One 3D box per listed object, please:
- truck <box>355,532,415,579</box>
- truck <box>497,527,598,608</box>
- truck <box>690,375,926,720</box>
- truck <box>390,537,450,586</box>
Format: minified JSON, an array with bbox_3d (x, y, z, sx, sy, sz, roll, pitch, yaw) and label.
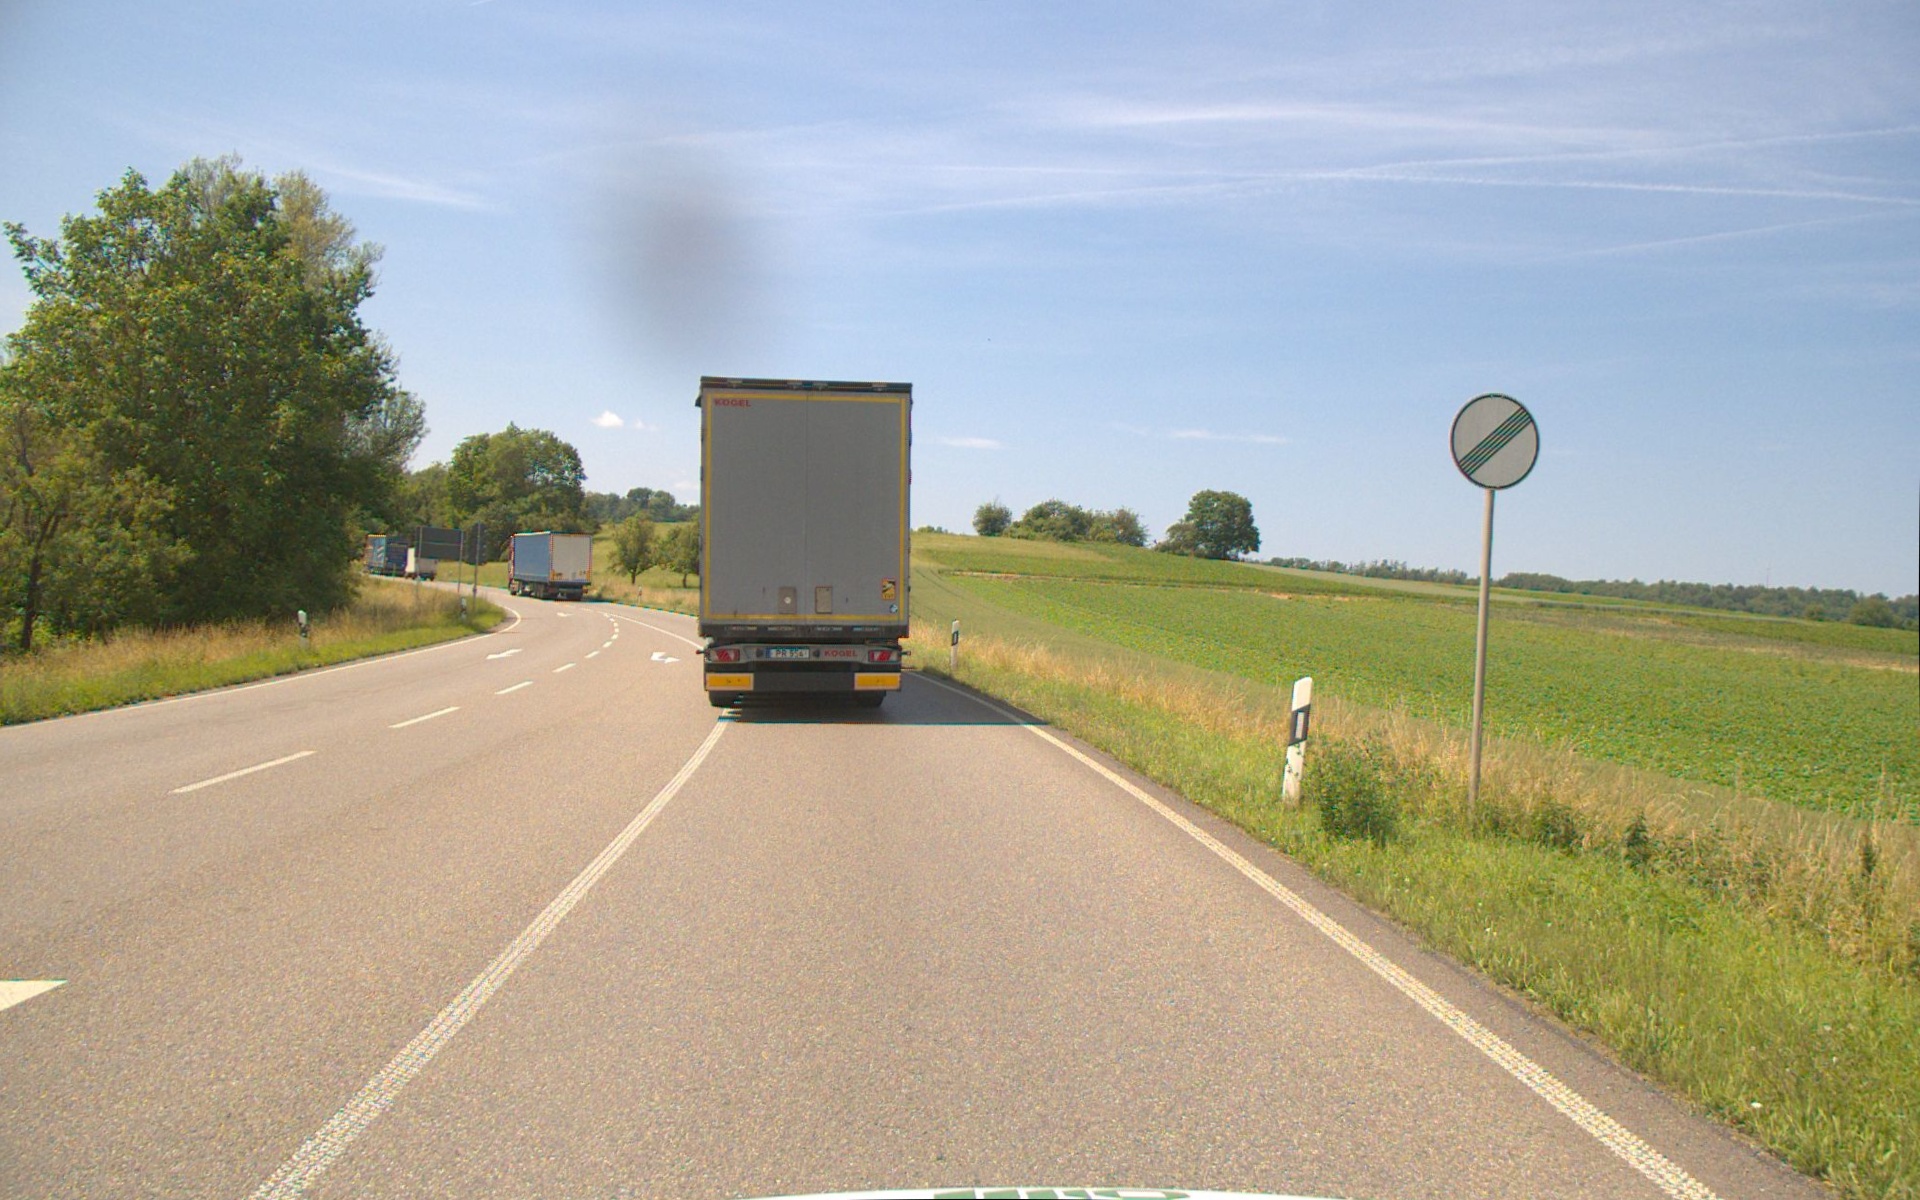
[{"bbox_3d":[-60.789,-4.601,174.584,3.491,4.315,13.275,4,-2,-29],"label":"truck"},{"bbox_3d":[-26.496,-1.943,105.440,2.924,4.664,16.181,3,-1,-26],"label":"truck"},{"bbox_3d":[-2.432,-0.612,24.201,2.755,4.015,9.573,0,0,-8],"label":"truck"},{"bbox_3d":[-52.570,-3.674,160.750,3.593,4.201,12.988,4,-2,-26],"label":"truck"}]
